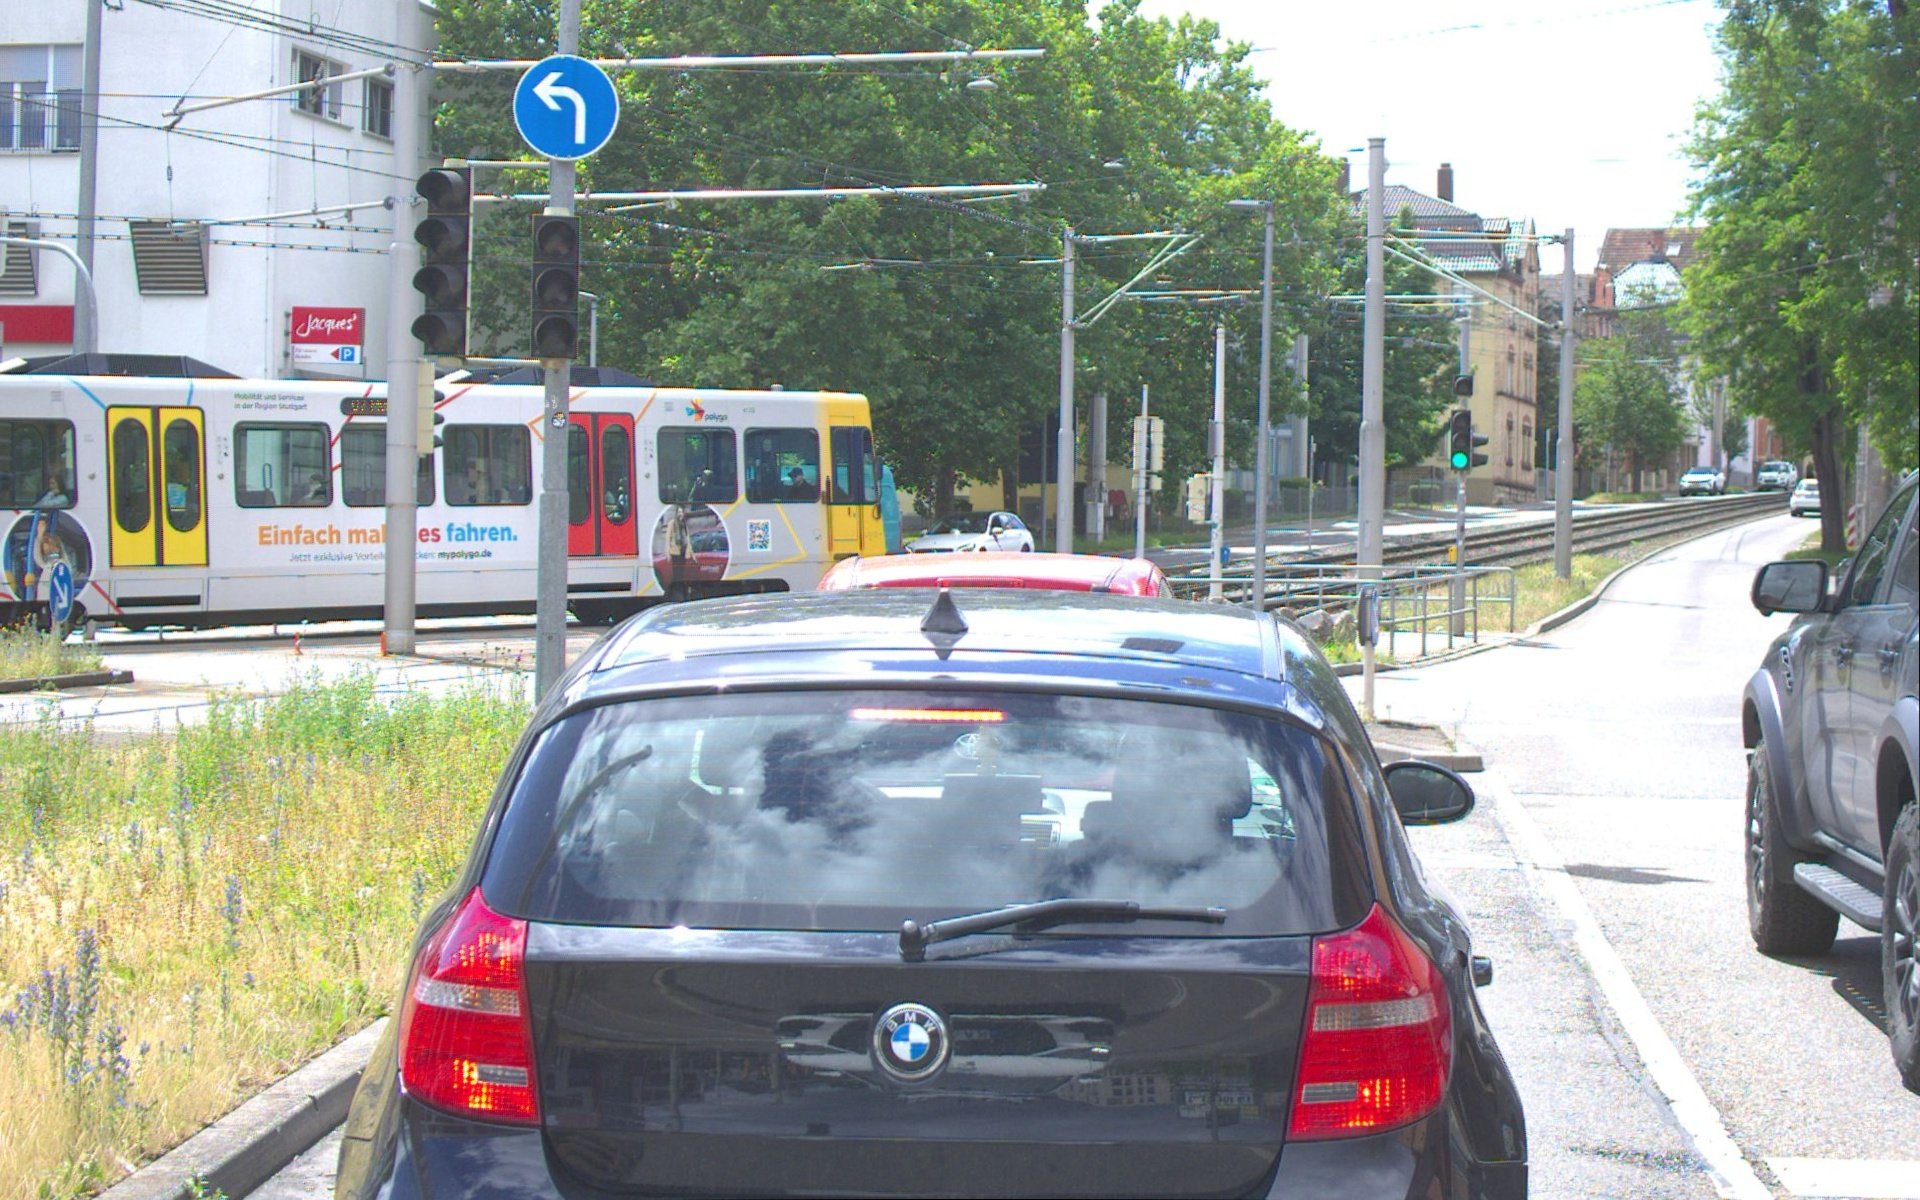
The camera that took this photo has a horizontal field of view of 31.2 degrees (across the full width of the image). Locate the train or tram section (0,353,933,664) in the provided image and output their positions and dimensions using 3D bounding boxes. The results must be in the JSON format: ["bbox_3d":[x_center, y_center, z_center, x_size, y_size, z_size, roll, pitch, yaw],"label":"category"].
[{"bbox_3d":[-8.746,-1.164,47.716,3.759,3.801,19.999,0,0,44],"label":"train or tram section"}]

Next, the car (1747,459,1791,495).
[{"bbox_3d":[48.730,-7.392,207.044,1.996,2.007,3.996,0,0,21],"label":"car"}]

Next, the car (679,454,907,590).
[{"bbox_3d":[-3.345,-1.539,70.209,2.134,2.645,5.682,0,0,26],"label":"car"}]

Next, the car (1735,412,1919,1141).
[{"bbox_3d":[3.713,0.442,10.756,1.999,1.880,5.149,0,0,7],"label":"car"}]

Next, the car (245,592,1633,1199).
[{"bbox_3d":[-0.113,0.717,6.221,1.701,1.447,4.000,0,0,-3],"label":"car"}]

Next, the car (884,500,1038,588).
[{"bbox_3d":[0.074,-1.243,78.009,1.855,1.921,4.792,0,0,21],"label":"car"}]

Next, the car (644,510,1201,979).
[{"bbox_3d":[0.014,0.449,12.830,1.625,1.468,3.999,0,0,6],"label":"car"}]

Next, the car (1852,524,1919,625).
[{"bbox_3d":[15.515,-0.413,55.941,1.788,1.590,3.998,0,0,13],"label":"car"}]

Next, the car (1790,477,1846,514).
[{"bbox_3d":[34.370,-4.167,137.647,1.817,1.463,3.996,0,1,19],"label":"car"}]

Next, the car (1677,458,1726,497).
[{"bbox_3d":[40.497,-6.685,187.746,1.996,2.007,3.996,0,0,21],"label":"car"}]

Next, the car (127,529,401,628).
[{"bbox_3d":[-11.550,-0.357,57.224,1.857,1.579,4.159,0,0,43],"label":"car"}]
